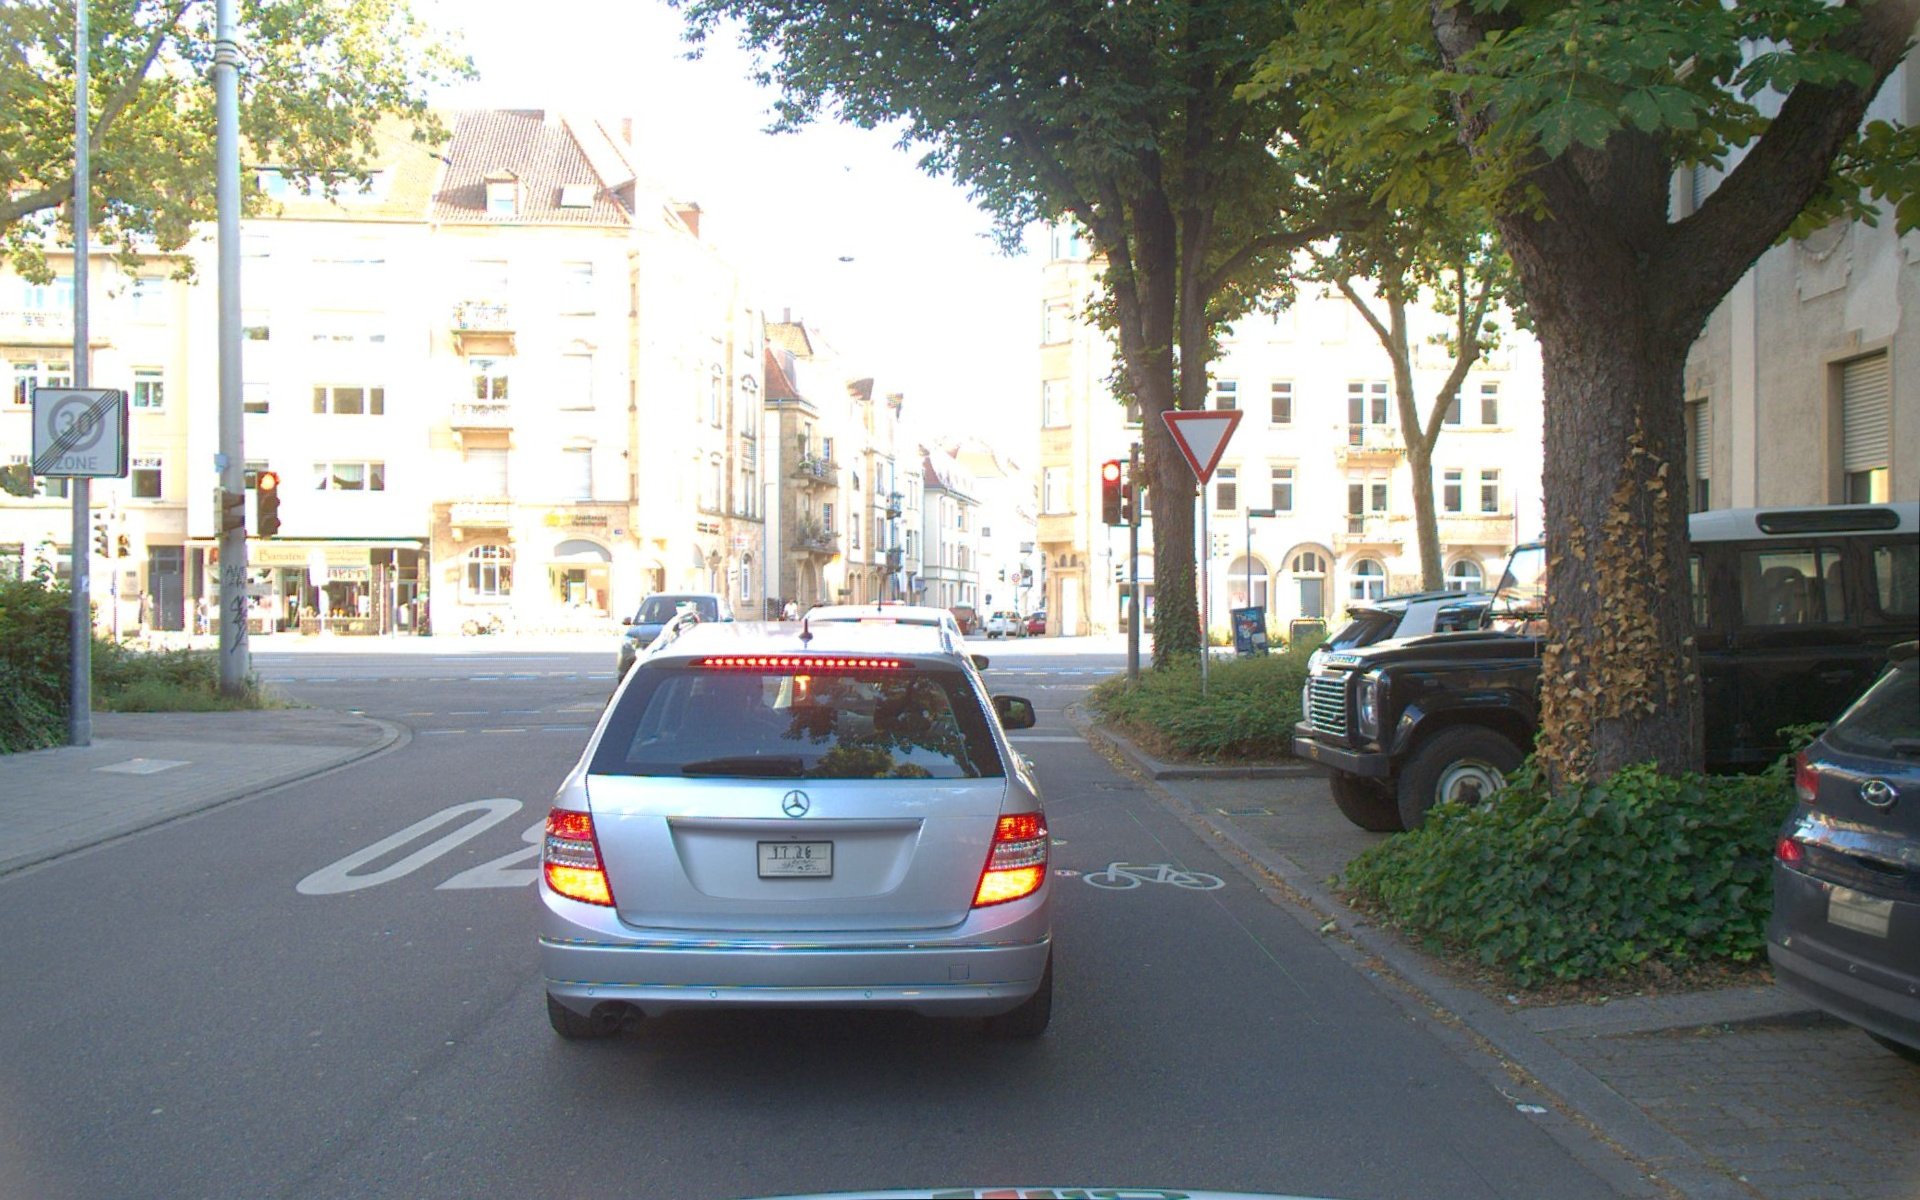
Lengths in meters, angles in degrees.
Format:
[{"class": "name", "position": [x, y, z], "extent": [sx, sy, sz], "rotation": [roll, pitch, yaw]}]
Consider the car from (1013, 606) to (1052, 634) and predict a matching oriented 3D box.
[{"class": "car", "position": [4.485, 1.196, 102.117], "extent": [1.684, 1.503, 4.004], "rotation": [-4, 0, 11]}]

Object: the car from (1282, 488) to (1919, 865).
[{"class": "car", "position": [4.418, 0.398, 10.235], "extent": [4.402, 1.990, 1.791], "rotation": [-2, 0, -4]}]

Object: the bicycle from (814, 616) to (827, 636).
[{"class": "bicycle", "position": [-6.176, 1.150, 73.194], "extent": [0.557, 0.849, 1.564], "rotation": [0, 0, -4]}]

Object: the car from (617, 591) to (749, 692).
[{"class": "car", "position": [-4.474, 0.620, 27.103], "extent": [1.582, 1.528, 3.592], "rotation": [0, 0, -1]}]

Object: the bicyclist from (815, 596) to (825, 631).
[{"class": "bicyclist", "position": [-6.198, 0.600, 73.205], "extent": [0.457, 1.547, 0.693], "rotation": [0, 0, -4]}]

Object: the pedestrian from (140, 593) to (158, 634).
[{"class": "pedestrian", "position": [-30.733, 0.506, 62.672], "extent": [0.557, 1.537, 0.499], "rotation": [0, 0, -20]}]

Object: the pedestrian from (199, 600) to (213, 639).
[{"class": "pedestrian", "position": [-29.198, 0.751, 64.081], "extent": [0.466, 1.537, 0.428], "rotation": [0, 0, -21]}]

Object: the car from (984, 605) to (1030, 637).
[{"class": "car", "position": [2.476, 1.065, 85.869], "extent": [1.684, 1.504, 4.004], "rotation": [-2, 0, 11]}]

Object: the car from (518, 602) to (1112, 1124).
[{"class": "car", "position": [-0.501, 0.756, 6.441], "extent": [1.657, 1.454, 3.490], "rotation": [1, 0, -3]}]

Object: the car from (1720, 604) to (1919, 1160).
[{"class": "car", "position": [4.323, 0.685, 4.574], "extent": [3.675, 1.446, 1.627], "rotation": [-2, -1, -4]}]

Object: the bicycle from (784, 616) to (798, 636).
[{"class": "bicycle", "position": [-7.474, 1.155, 73.162], "extent": [0.557, 0.849, 1.564], "rotation": [0, 0, -4]}]

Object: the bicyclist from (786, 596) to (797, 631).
[{"class": "bicyclist", "position": [-7.455, 0.595, 73.193], "extent": [0.457, 1.541, 0.655], "rotation": [0, 0, -4]}]

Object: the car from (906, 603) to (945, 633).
[{"class": "car", "position": [-2.115, 1.105, 102.376], "extent": [1.615, 1.814, 3.866], "rotation": [0, -1, 10]}]

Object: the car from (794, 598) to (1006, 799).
[{"class": "car", "position": [-0.499, 0.704, 13.652], "extent": [1.502, 1.415, 3.597], "rotation": [0, 0, -2]}]

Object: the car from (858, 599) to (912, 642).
[{"class": "car", "position": [-3.602, 0.957, 79.910], "extent": [1.896, 1.993, 4.153], "rotation": [0, 0, 7]}]

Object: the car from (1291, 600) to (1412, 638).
[{"class": "car", "position": [11.741, 0.564, 49.709], "extent": [3.296, 1.087, 1.380], "rotation": [0, 0, -2]}]

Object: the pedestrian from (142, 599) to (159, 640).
[{"class": "pedestrian", "position": [-30.829, 0.742, 63.014], "extent": [0.501, 1.537, 0.534], "rotation": [0, 0, -19]}]

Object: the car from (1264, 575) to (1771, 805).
[{"class": "car", "position": [4.346, 0.657, 13.179], "extent": [3.415, 1.614, 1.708], "rotation": [-1, 0, -7]}]
